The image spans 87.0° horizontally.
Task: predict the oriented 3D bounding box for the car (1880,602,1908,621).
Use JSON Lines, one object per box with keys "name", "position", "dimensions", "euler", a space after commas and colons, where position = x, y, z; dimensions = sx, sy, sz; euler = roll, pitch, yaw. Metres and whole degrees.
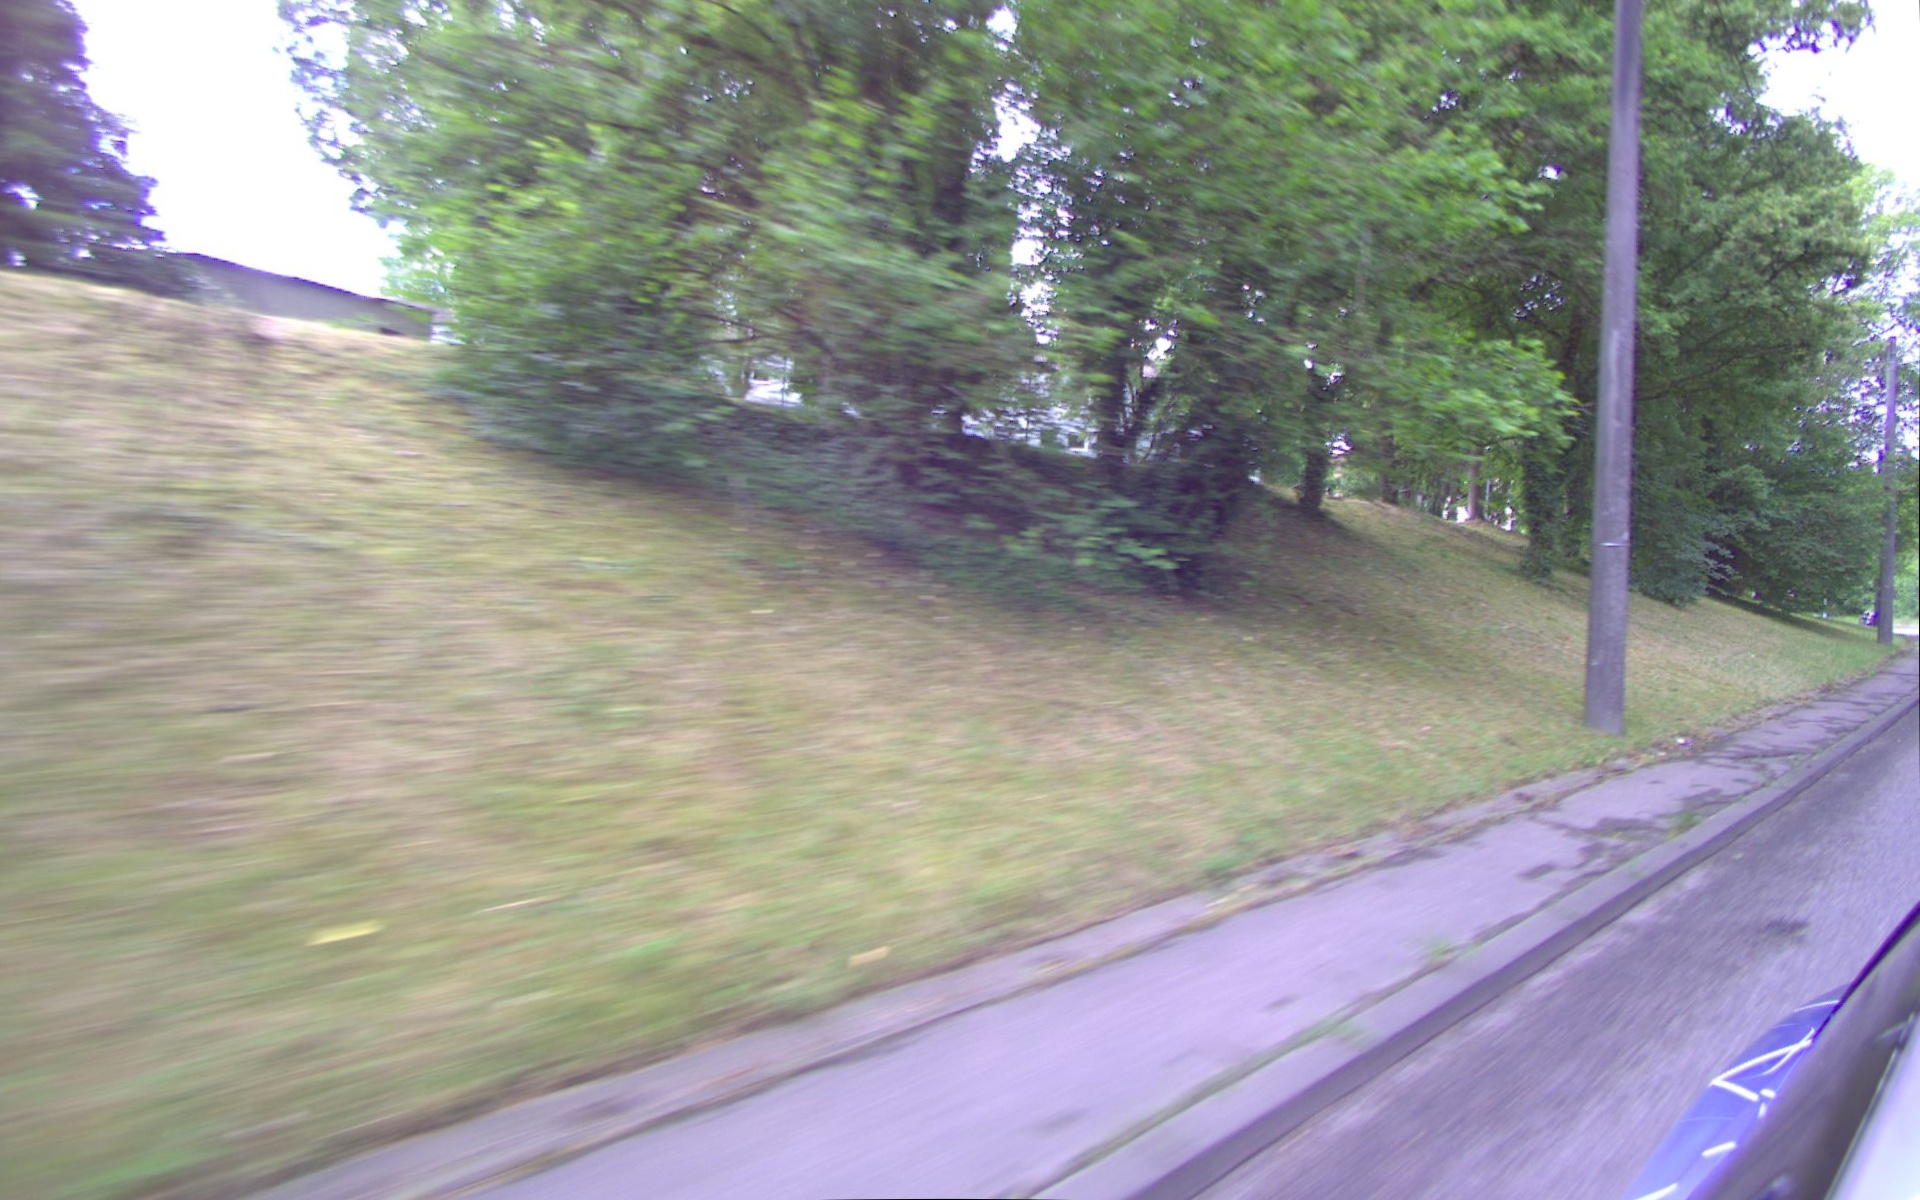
{"name": "car", "position": [80.625, 0.987, 87.365], "dimensions": [1.661, 1.514, 3.264], "euler": [0, -2, 41]}
